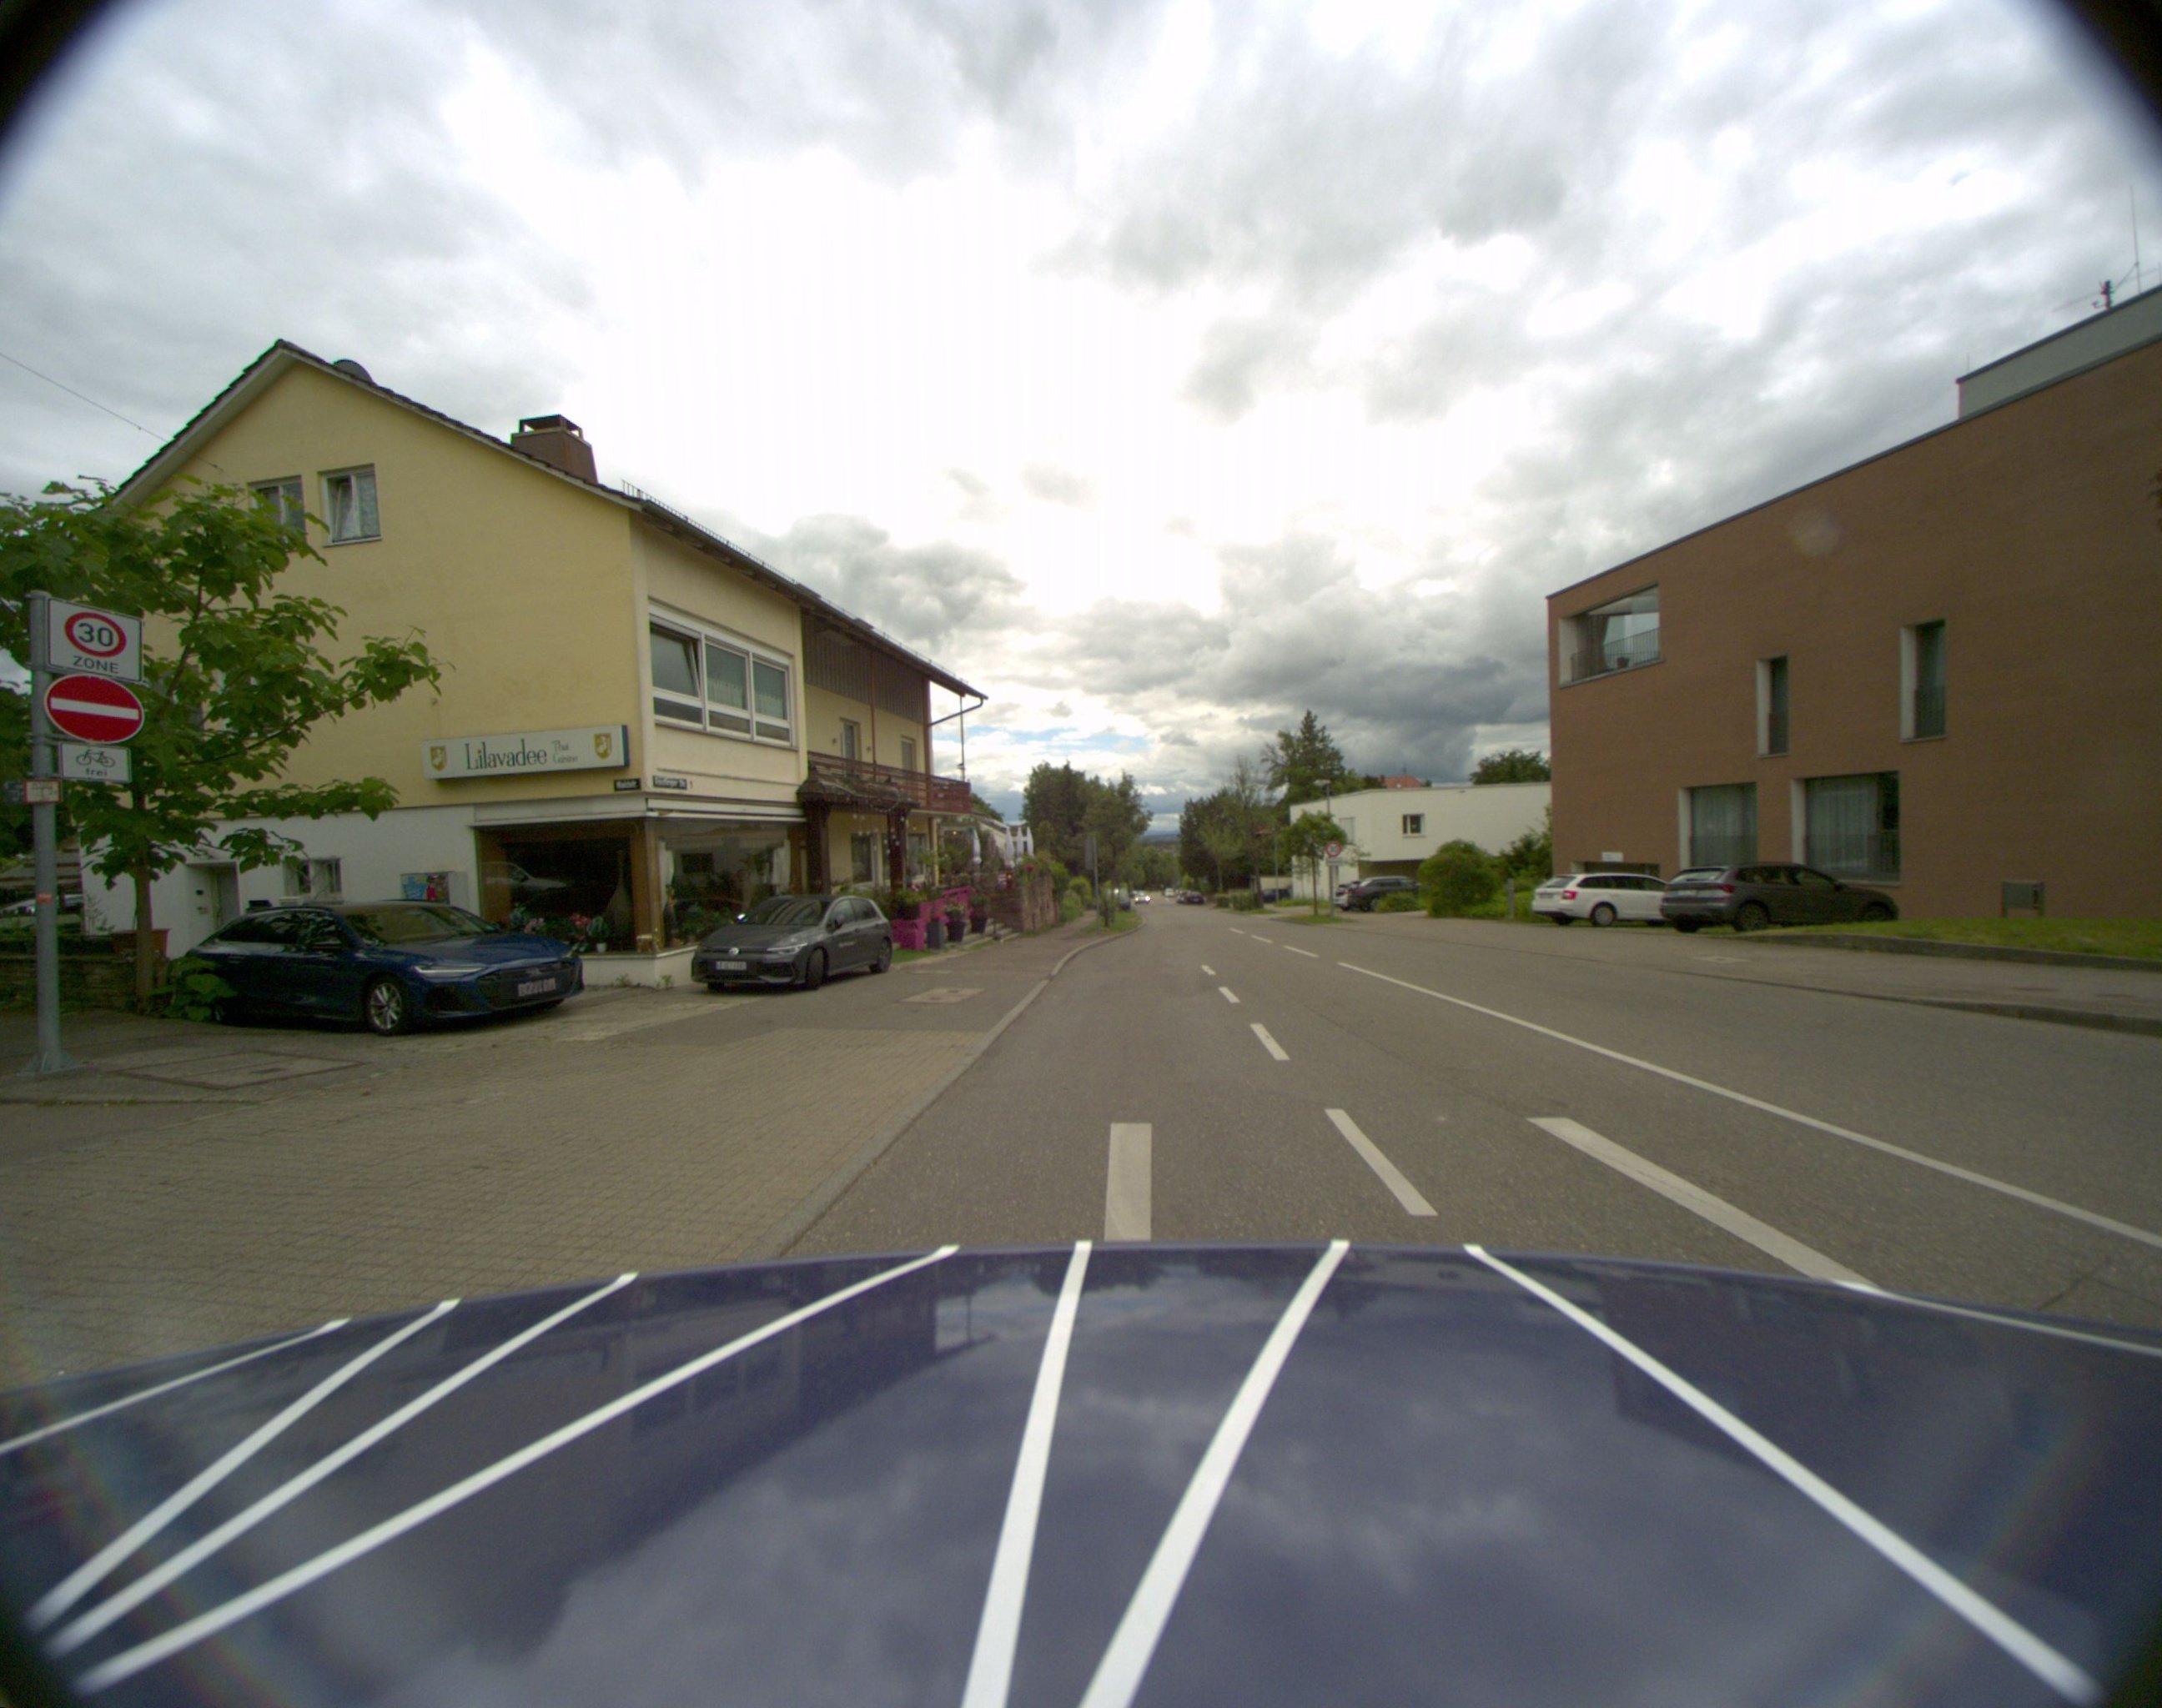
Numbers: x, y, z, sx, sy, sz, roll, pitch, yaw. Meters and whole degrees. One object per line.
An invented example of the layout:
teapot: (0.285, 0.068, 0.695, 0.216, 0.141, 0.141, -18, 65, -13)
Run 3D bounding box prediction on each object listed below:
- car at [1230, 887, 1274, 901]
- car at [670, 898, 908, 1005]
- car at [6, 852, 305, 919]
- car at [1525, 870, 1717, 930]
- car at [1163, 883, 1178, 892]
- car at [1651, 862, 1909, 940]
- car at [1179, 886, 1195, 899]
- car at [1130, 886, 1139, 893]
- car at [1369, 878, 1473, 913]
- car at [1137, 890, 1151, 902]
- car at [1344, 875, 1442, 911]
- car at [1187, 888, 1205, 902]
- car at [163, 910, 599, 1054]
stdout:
car: (16.565, 3.892, 73.726, 3.995, 1.278, 1.665, -2, -3, 7)
car: (-4.532, 1.483, 12.625, 1.796, 1.452, 4.332, -1, -4, 8)
car: (-22.665, 0.834, 18.891, 1.795, 1.452, 4.336, -2, -4, 22)
car: (14.627, 1.238, 20.709, 3.998, 1.476, 1.727, -1, -3, -3)
car: (16.232, 6.083, 137.969, 1.884, 1.412, 4.368, -1, -1, -2)
car: (14.924, 0.998, 16.364, 3.998, 1.476, 1.727, -1, -3, -3)
car: (12.517, 4.564, 89.572, 1.661, 1.412, 4.372, -2, -3, 6)
car: (12.971, 8.600, 183.976, 1.883, 1.412, 4.369, -1, -1, 1)
car: (15.614, 1.902, 35.032, 3.996, 1.476, 1.728, -2, -3, 3)
car: (8.032, 5.319, 96.433, 1.725, 1.476, 4.004, -2, -3, 6)
car: (15.069, 1.900, 36.873, 3.996, 1.585, 1.795, -2, -3, 3)
car: (12.200, 4.308, 80.575, 1.661, 1.412, 4.004, -2, -3, 6)
car: (-8.519, 1.422, 9.288, 4.739, 1.378, 1.802, -2, -1, 18)
